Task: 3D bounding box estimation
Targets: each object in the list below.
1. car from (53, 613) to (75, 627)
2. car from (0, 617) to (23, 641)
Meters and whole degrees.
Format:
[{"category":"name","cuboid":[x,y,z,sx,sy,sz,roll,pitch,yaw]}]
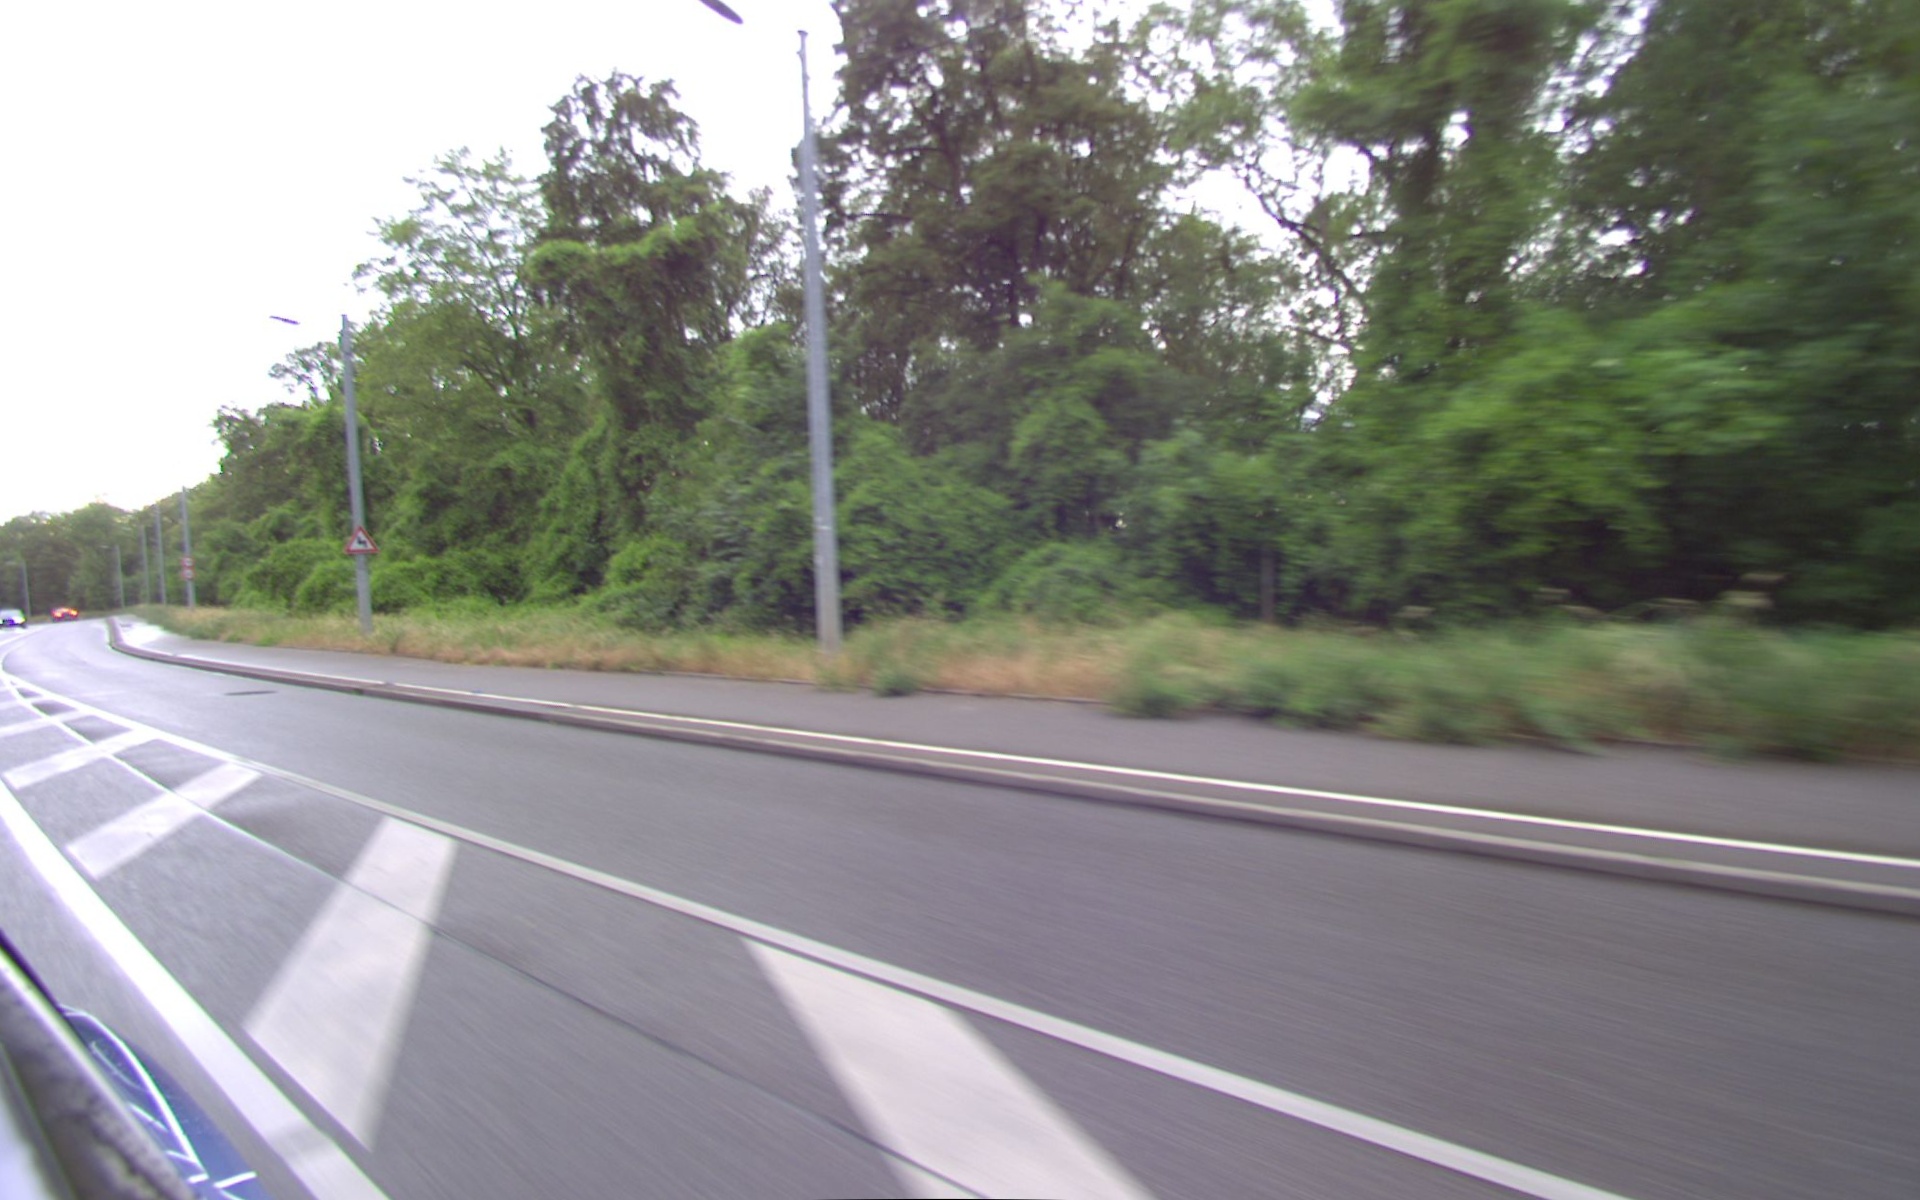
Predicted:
[{"category":"car","cuboid":[-111.396,2.472,125.824,1.970,1.696,4.004,-2,1,-43]},{"category":"car","cuboid":[-71.926,2.179,76.032,1.969,1.696,4.007,-2,1,-40]}]
